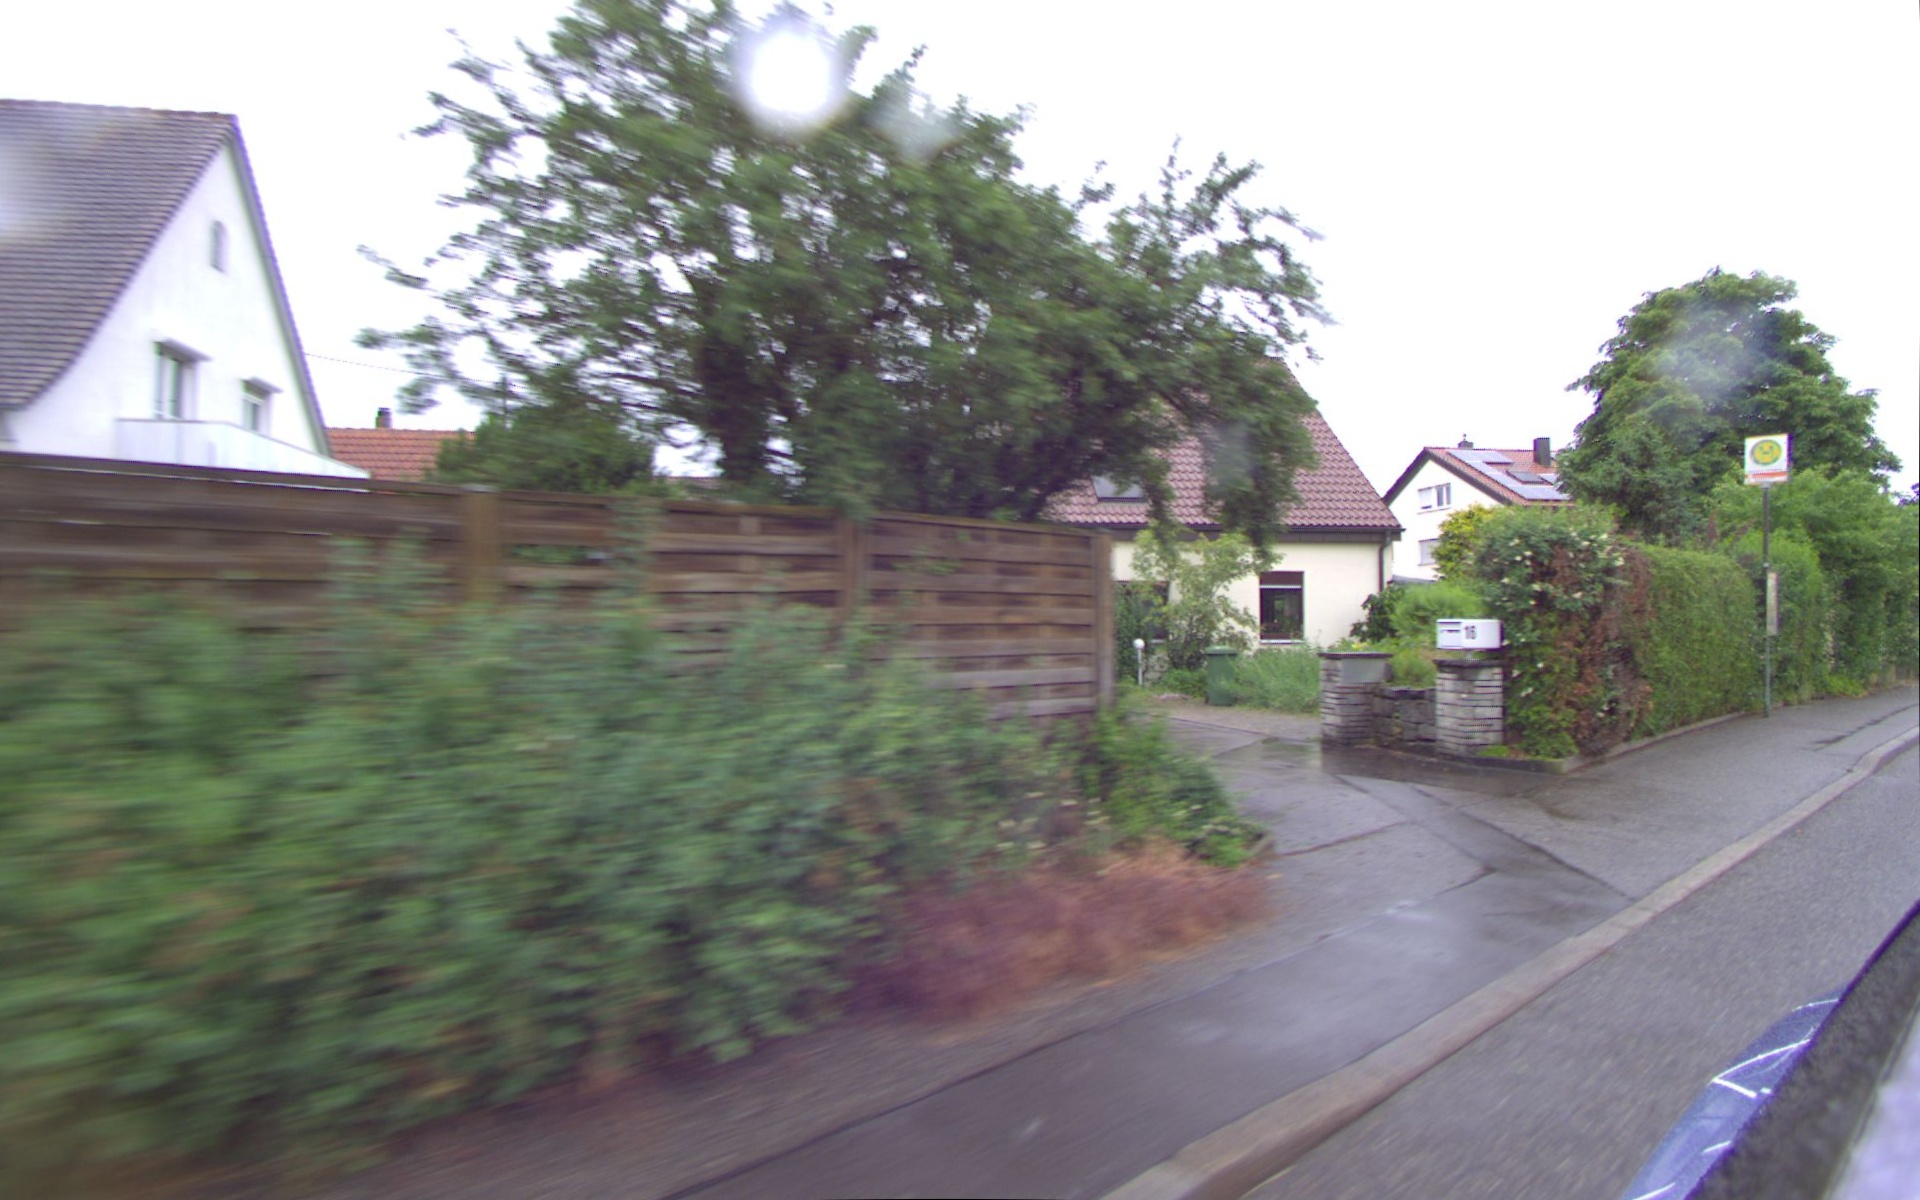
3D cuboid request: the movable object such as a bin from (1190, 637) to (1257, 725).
[{"bbox_3d":[4.705,1.430,18.126,0.790,1.487,1.020,0,-1,-13],"label":"movable object such as a bin"}]
